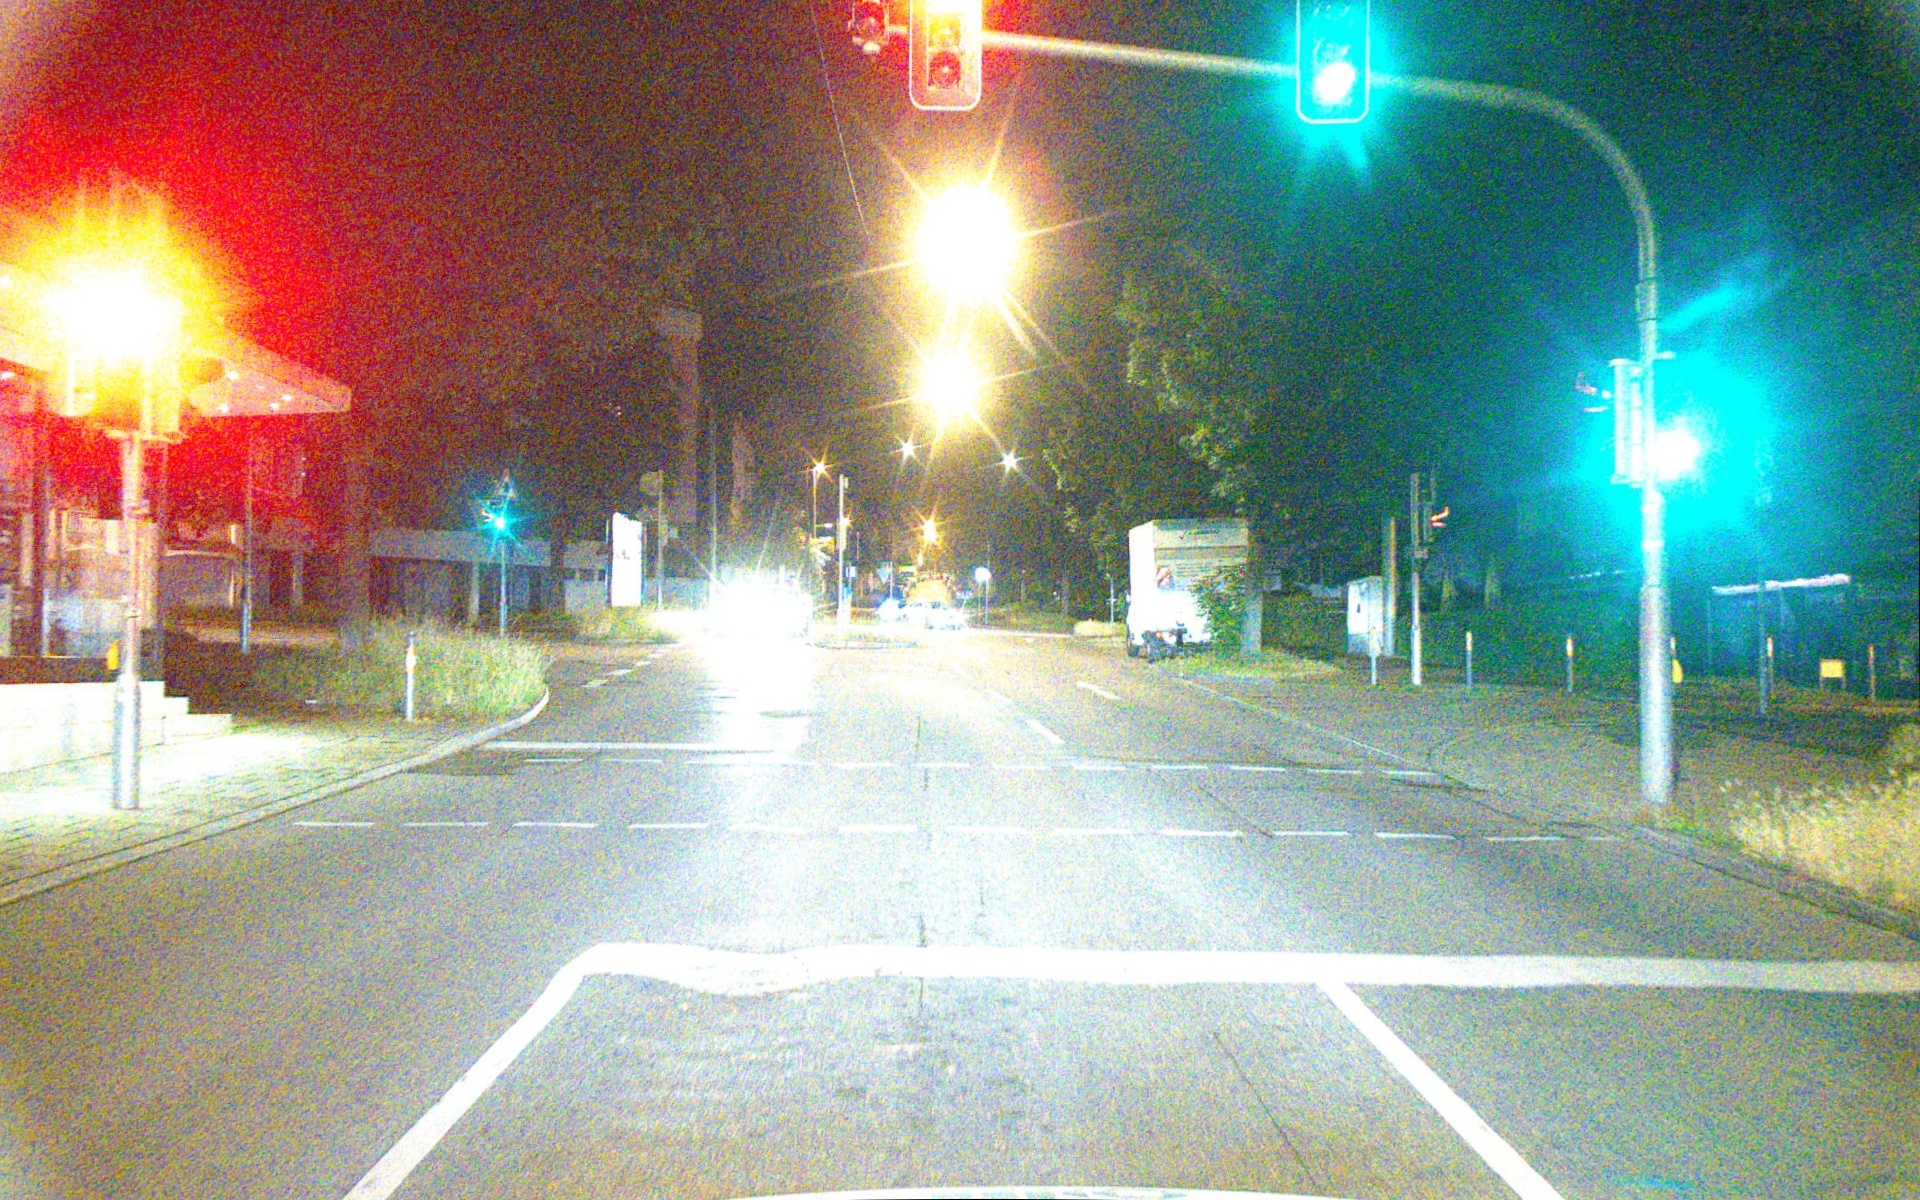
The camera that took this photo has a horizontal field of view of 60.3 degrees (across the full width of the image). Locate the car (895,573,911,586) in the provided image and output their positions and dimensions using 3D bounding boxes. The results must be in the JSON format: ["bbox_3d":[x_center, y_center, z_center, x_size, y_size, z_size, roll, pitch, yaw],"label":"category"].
[{"bbox_3d":[-6.560,-2.350,190.144,1.779,1.517,3.998,1,0,-3],"label":"car"}]

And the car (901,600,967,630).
[{"bbox_3d":[-1.384,0.754,85.561,1.890,1.413,4.551,1,0,-22],"label":"car"}]

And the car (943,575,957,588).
[{"bbox_3d":[-1.158,-2.197,194.581,1.601,1.477,3.484,1,0,-1],"label":"car"}]

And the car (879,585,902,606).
[{"bbox_3d":[-5.777,-0.412,137.586,1.778,1.713,3.999,0,0,-1],"label":"car"}]

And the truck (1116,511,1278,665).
[{"bbox_3d":[5.256,-0.268,37.708,2.693,3.165,6.258,1,0,0],"label":"truck"}]

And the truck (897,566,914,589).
[{"bbox_3d":[-6.992,-2.905,212.587,2.045,2.897,5.828,1,0,-3],"label":"truck"}]

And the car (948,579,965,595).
[{"bbox_3d":[-0.353,-1.274,162.381,1.601,1.477,3.484,1,0,-1],"label":"car"}]

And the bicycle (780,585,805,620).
[{"bbox_3d":[-5.768,0.097,57.116,0.682,1.169,1.950,1,0,-1],"label":"bicycle"}]

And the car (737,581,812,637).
[{"bbox_3d":[-5.472,0.244,49.162,1.819,1.561,4.027,1,0,-1],"label":"car"}]

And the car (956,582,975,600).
[{"bbox_3d":[0.464,-0.800,146.477,1.601,1.477,3.484,1,0,-1],"label":"car"}]

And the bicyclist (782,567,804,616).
[{"bbox_3d":[-5.764,-0.302,57.075,0.676,1.666,0.896,1,0,-1],"label":"bicyclist"}]
